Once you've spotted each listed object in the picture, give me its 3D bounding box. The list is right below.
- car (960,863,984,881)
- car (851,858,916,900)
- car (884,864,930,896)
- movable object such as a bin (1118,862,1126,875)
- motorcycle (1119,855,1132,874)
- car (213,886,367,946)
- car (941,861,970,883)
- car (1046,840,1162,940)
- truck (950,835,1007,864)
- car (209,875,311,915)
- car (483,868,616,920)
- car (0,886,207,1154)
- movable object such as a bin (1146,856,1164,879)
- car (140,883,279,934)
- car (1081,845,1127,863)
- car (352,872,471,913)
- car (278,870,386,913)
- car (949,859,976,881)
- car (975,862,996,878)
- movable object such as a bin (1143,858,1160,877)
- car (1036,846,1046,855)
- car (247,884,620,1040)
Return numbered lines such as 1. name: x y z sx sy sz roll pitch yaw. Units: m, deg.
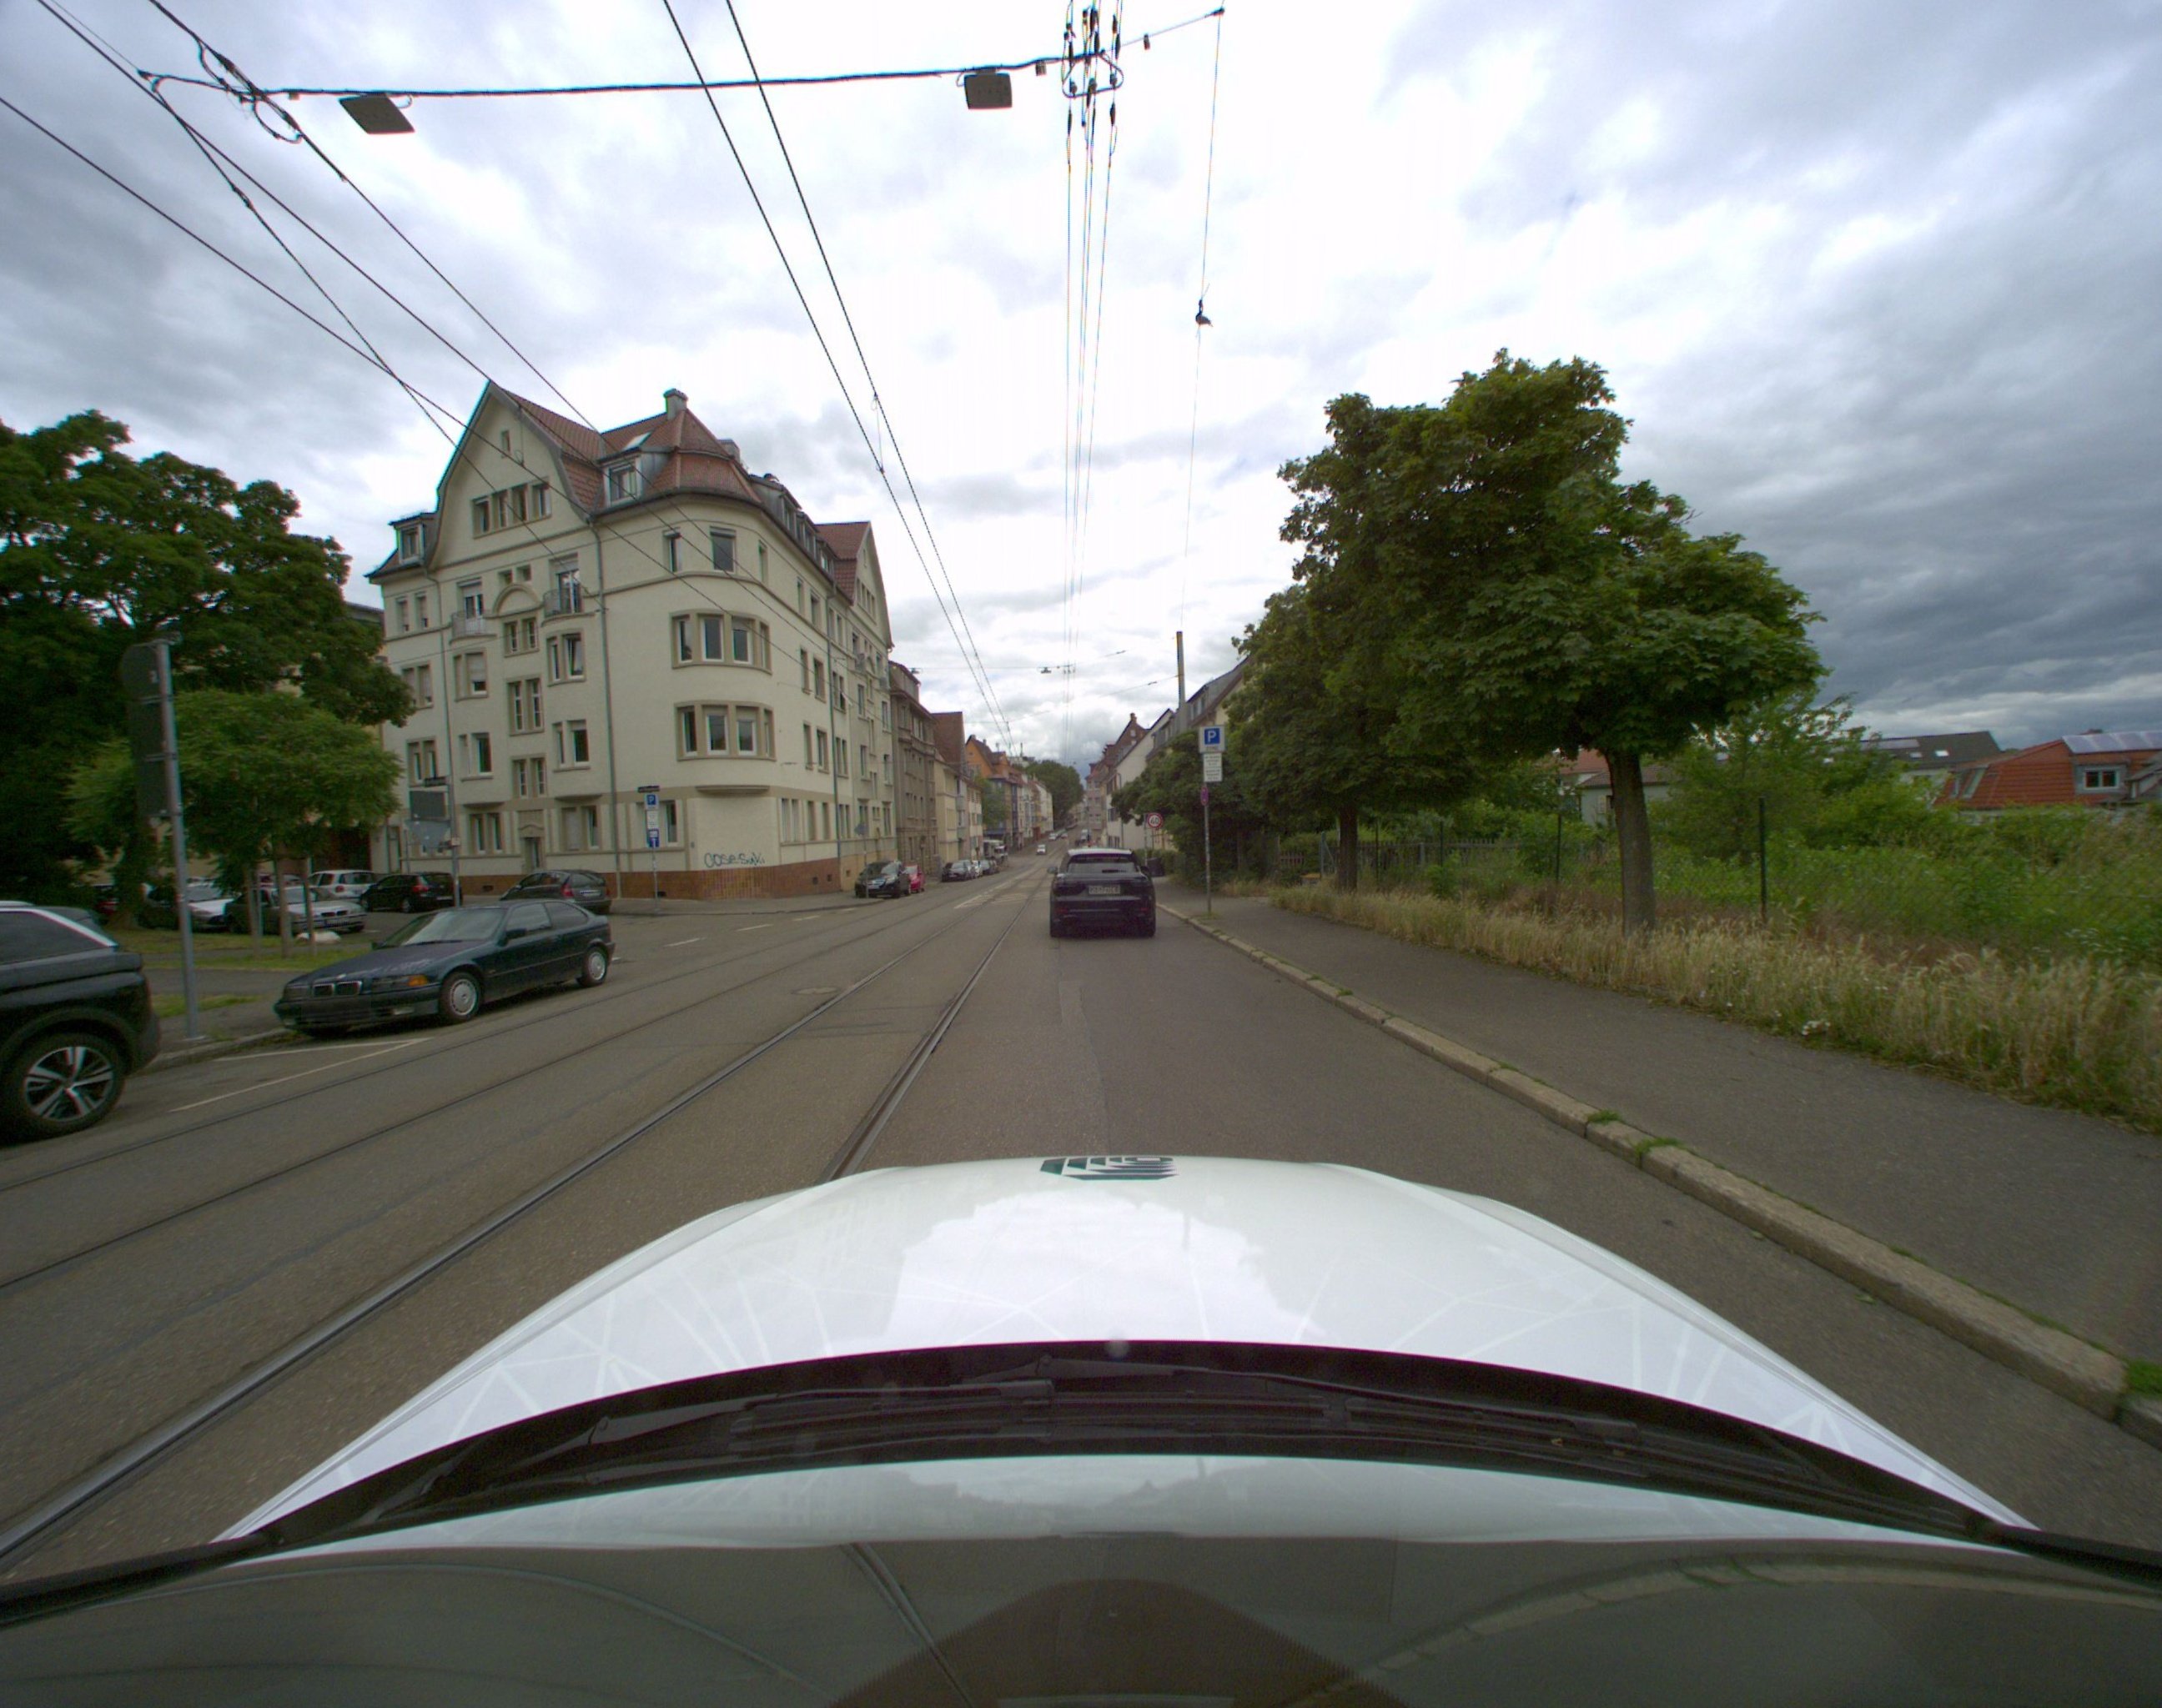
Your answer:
1. car: -9.501 1.580 71.205 1.617 1.463 3.681 -3 -1 -3
2. car: -8.581 1.082 35.768 1.863 1.646 4.397 -3 -1 -3
3. car: -8.852 1.290 41.597 1.617 1.463 3.741 -3 -1 -3
4. movable object such as a bin: 3.513 1.255 70.046 0.586 1.080 0.691 -2 -1 0
5. motorcycle: 3.471 0.803 63.563 0.836 1.456 2.552 -2 -1 0
6. car: -22.523 1.694 23.196 3.951 1.439 1.771 0 2 24
7. car: -9.219 1.332 60.241 1.617 1.463 4.028 -3 -1 -3
8. car: 0.354 0.650 16.376 1.988 1.676 3.997 -2 -1 -2
9. truck: -16.151 -0.679 128.401 8.513 4.182 2.265 -2 -3 9
10. car: -35.104 1.744 34.828 3.951 1.544 1.771 -3 0 24
11. car: -17.890 1.334 27.413 3.951 1.571 1.887 -3 0 24
12. car: -7.851 1.098 4.189 1.964 1.686 4.439 -3 -1 -3
13. movable object such as a bin: 4.054 0.761 44.652 0.791 1.218 0.788 -2 -1 -5
14. car: -27.457 1.717 25.661 3.951 1.419 1.771 -2 0 24
15. car: 3.388 -0.004 119.659 6.221 2.290 2.215 -3 -1 27
16. car: -25.185 1.453 30.638 3.951 1.354 1.887 -2 0 24
17. car: -30.235 1.503 32.879 3.951 1.544 1.771 -3 0 24
18. car: -9.414 1.319 65.063 1.617 1.604 4.346 -3 -1 -3
19. car: -9.249 1.564 79.263 1.617 1.473 4.551 -3 -1 -3
20. movable object such as a bin: 3.933 0.775 45.458 0.791 1.012 0.788 -2 -1 -5
21. car: -7.714 -0.661 158.031 1.746 1.760 4.252 -2 -1 -1
22. car: -7.955 1.198 10.613 1.617 1.477 4.152 -3 -1 -3
